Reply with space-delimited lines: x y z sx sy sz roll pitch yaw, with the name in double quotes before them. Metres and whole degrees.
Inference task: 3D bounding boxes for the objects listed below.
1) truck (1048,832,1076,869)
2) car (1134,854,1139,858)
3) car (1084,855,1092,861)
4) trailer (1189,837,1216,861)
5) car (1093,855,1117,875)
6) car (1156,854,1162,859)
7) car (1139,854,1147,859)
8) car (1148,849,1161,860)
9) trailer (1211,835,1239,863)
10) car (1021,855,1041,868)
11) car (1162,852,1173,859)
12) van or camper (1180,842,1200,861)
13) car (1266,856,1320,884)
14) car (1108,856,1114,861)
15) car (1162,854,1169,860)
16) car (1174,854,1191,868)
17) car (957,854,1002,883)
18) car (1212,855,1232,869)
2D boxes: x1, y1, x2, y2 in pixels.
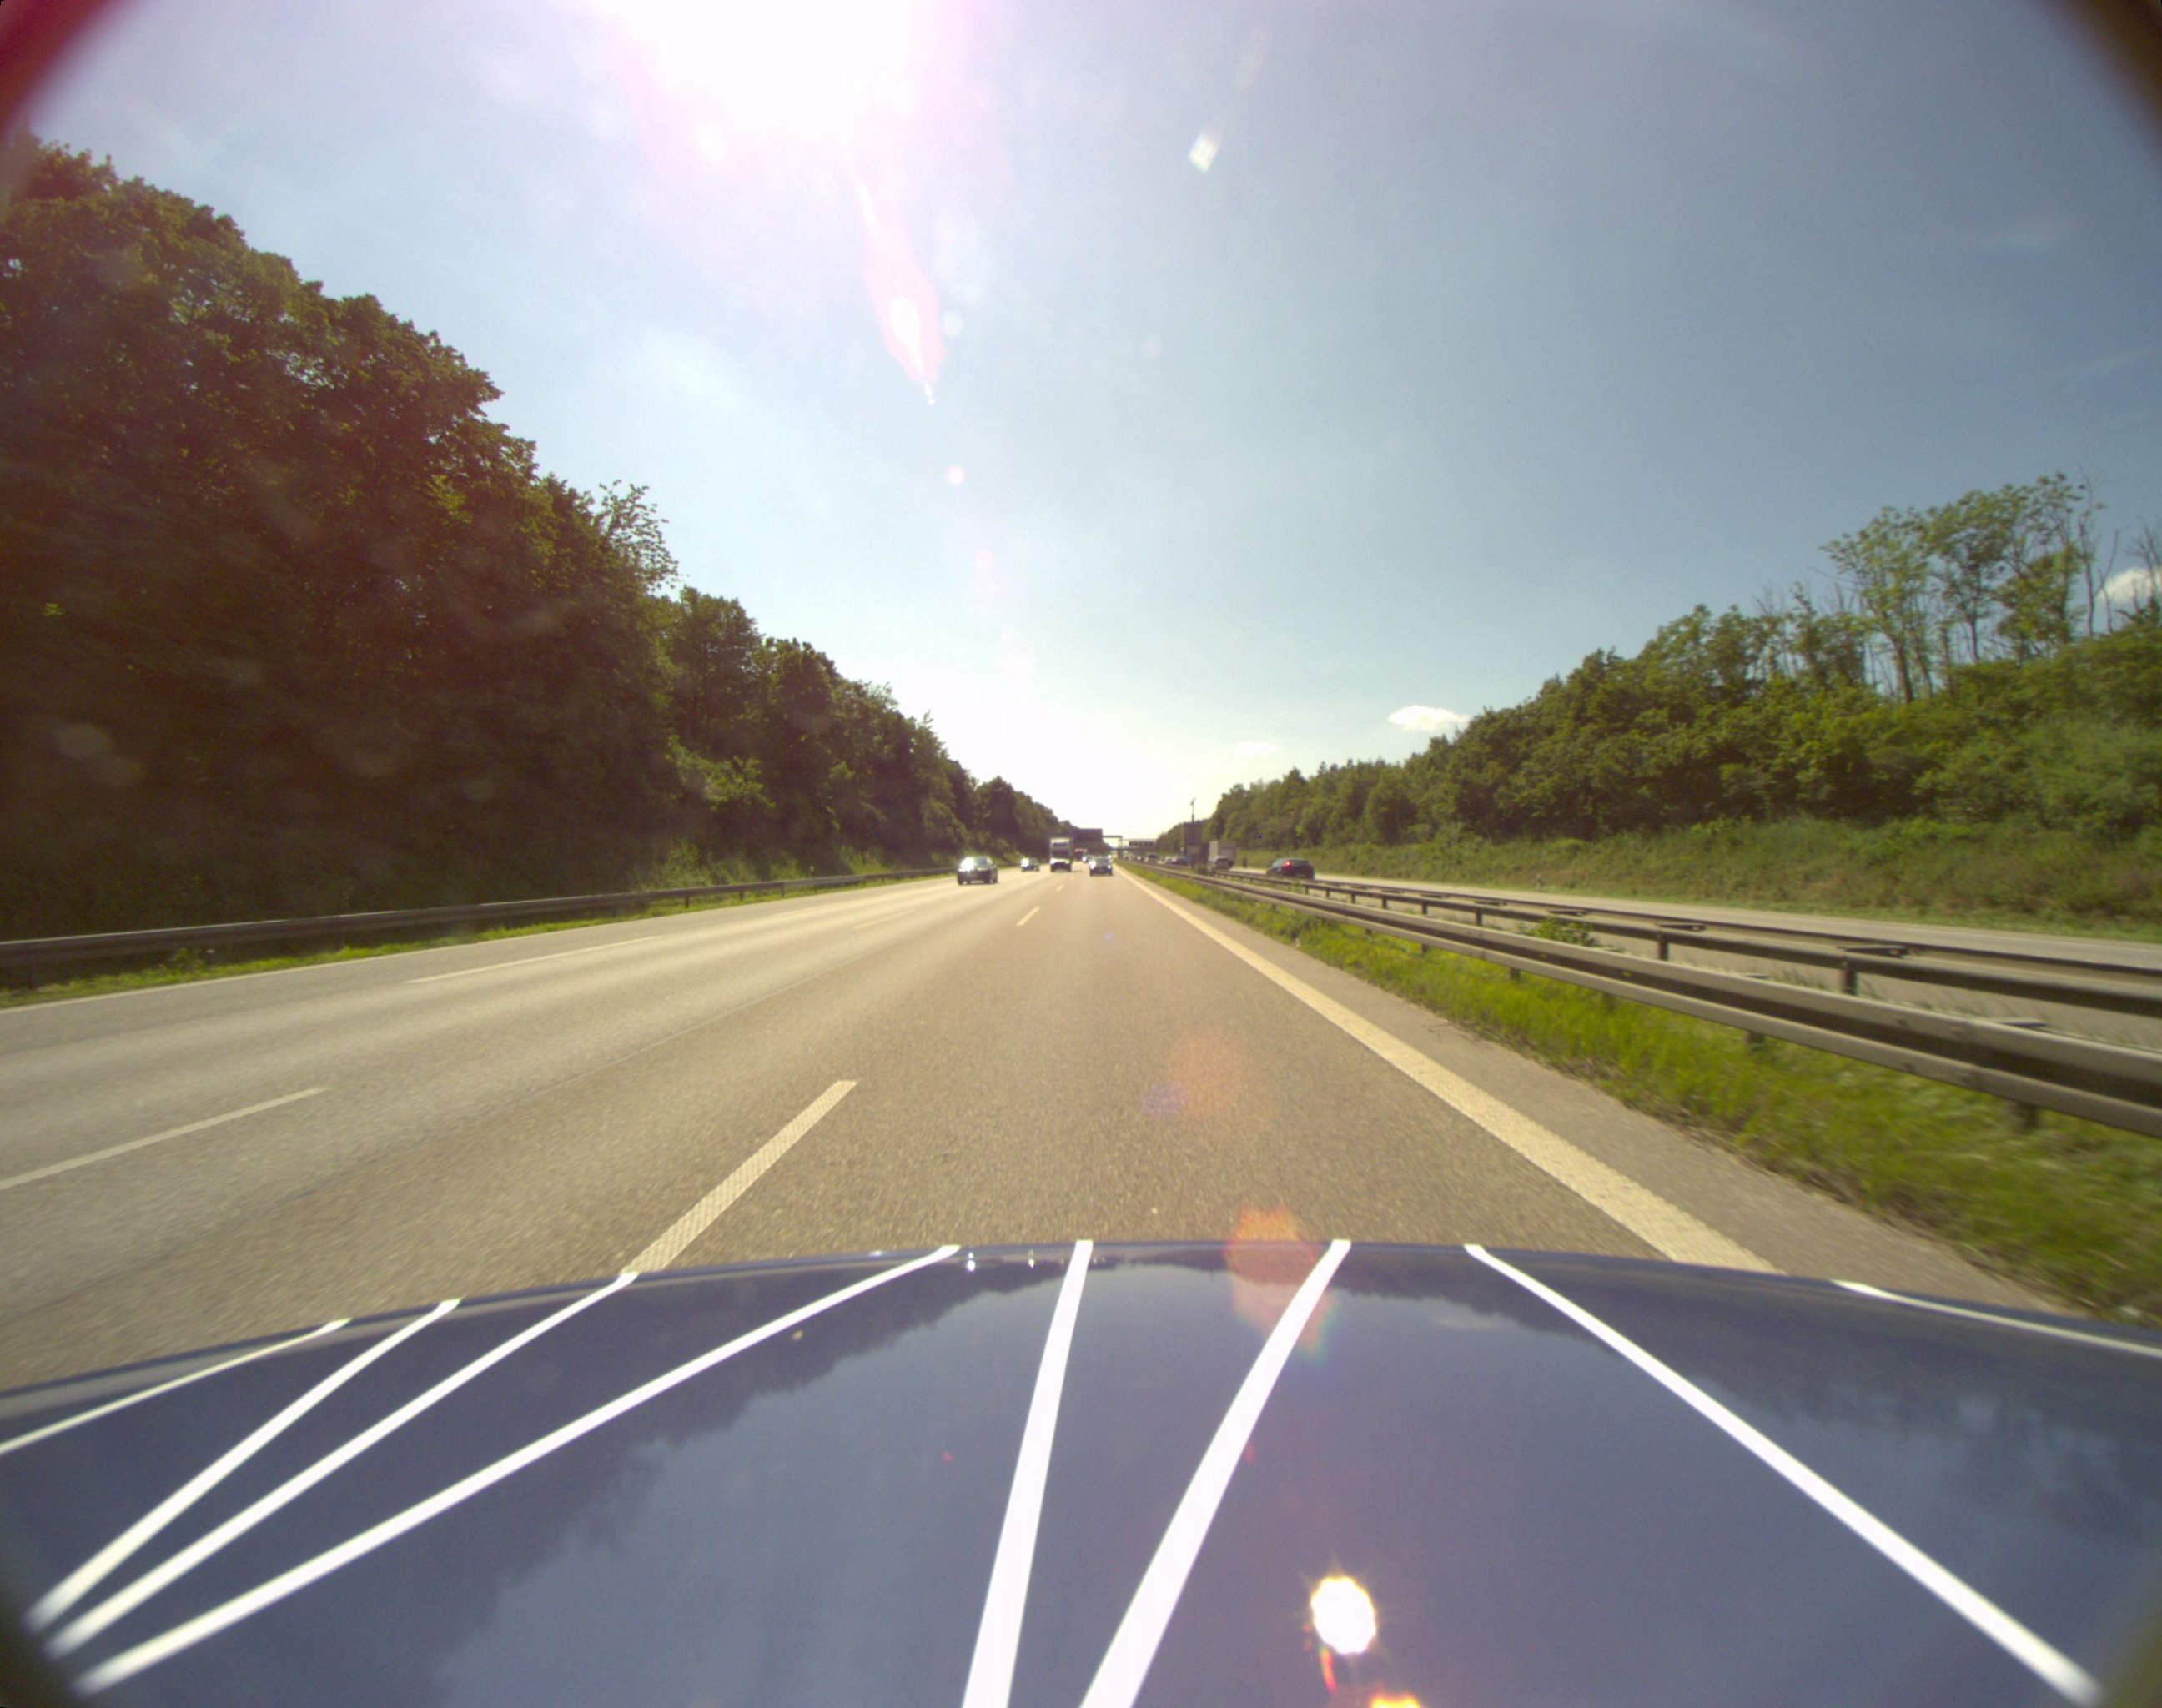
"truck" -1.908 -0.360 79.424 2.676 3.661 6.484 -1 0 1
"car" 18.519 0.695 253.481 1.489 1.348 4.417 0 0 1
"car" 1.570 0.889 173.213 1.831 1.346 3.679 0 0 1
"trailer" 21.807 -0.837 137.210 2.621 4.034 14.169 2 0 1
"car" 1.869 0.824 59.301 1.814 1.483 3.729 -1 0 1
"car" 26.527 0.846 257.408 1.632 1.483 4.941 2 0 2
"car" 15.925 0.629 194.606 1.812 1.397 4.819 0 0 1
"car" 13.365 0.093 138.690 1.932 1.969 5.235 2 0 1
"trailer" 20.510 -0.671 108.597 2.719 3.787 7.692 1 0 1
"car" -5.663 0.851 85.790 1.916 1.390 4.138 -1 0 1
"car" 17.002 0.277 149.843 1.717 1.410 4.504 0 0 1
"van or camper" 16.913 -0.394 118.037 2.202 2.795 6.798 2 0 2
"car" 11.057 0.793 39.933 1.718 1.390 4.149 0 0 1
"car" 8.179 1.246 209.999 1.591 1.291 3.382 0 0 1
"car" 24.556 0.842 220.204 1.599 1.559 4.369 2 0 1
"car" 11.520 0.803 86.313 1.437 1.519 3.457 0 0 1
"car" -6.220 0.851 47.087 1.924 1.659 4.687 -2 0 3
"car" 16.032 0.878 86.367 1.679 1.487 3.544 0 0 1
